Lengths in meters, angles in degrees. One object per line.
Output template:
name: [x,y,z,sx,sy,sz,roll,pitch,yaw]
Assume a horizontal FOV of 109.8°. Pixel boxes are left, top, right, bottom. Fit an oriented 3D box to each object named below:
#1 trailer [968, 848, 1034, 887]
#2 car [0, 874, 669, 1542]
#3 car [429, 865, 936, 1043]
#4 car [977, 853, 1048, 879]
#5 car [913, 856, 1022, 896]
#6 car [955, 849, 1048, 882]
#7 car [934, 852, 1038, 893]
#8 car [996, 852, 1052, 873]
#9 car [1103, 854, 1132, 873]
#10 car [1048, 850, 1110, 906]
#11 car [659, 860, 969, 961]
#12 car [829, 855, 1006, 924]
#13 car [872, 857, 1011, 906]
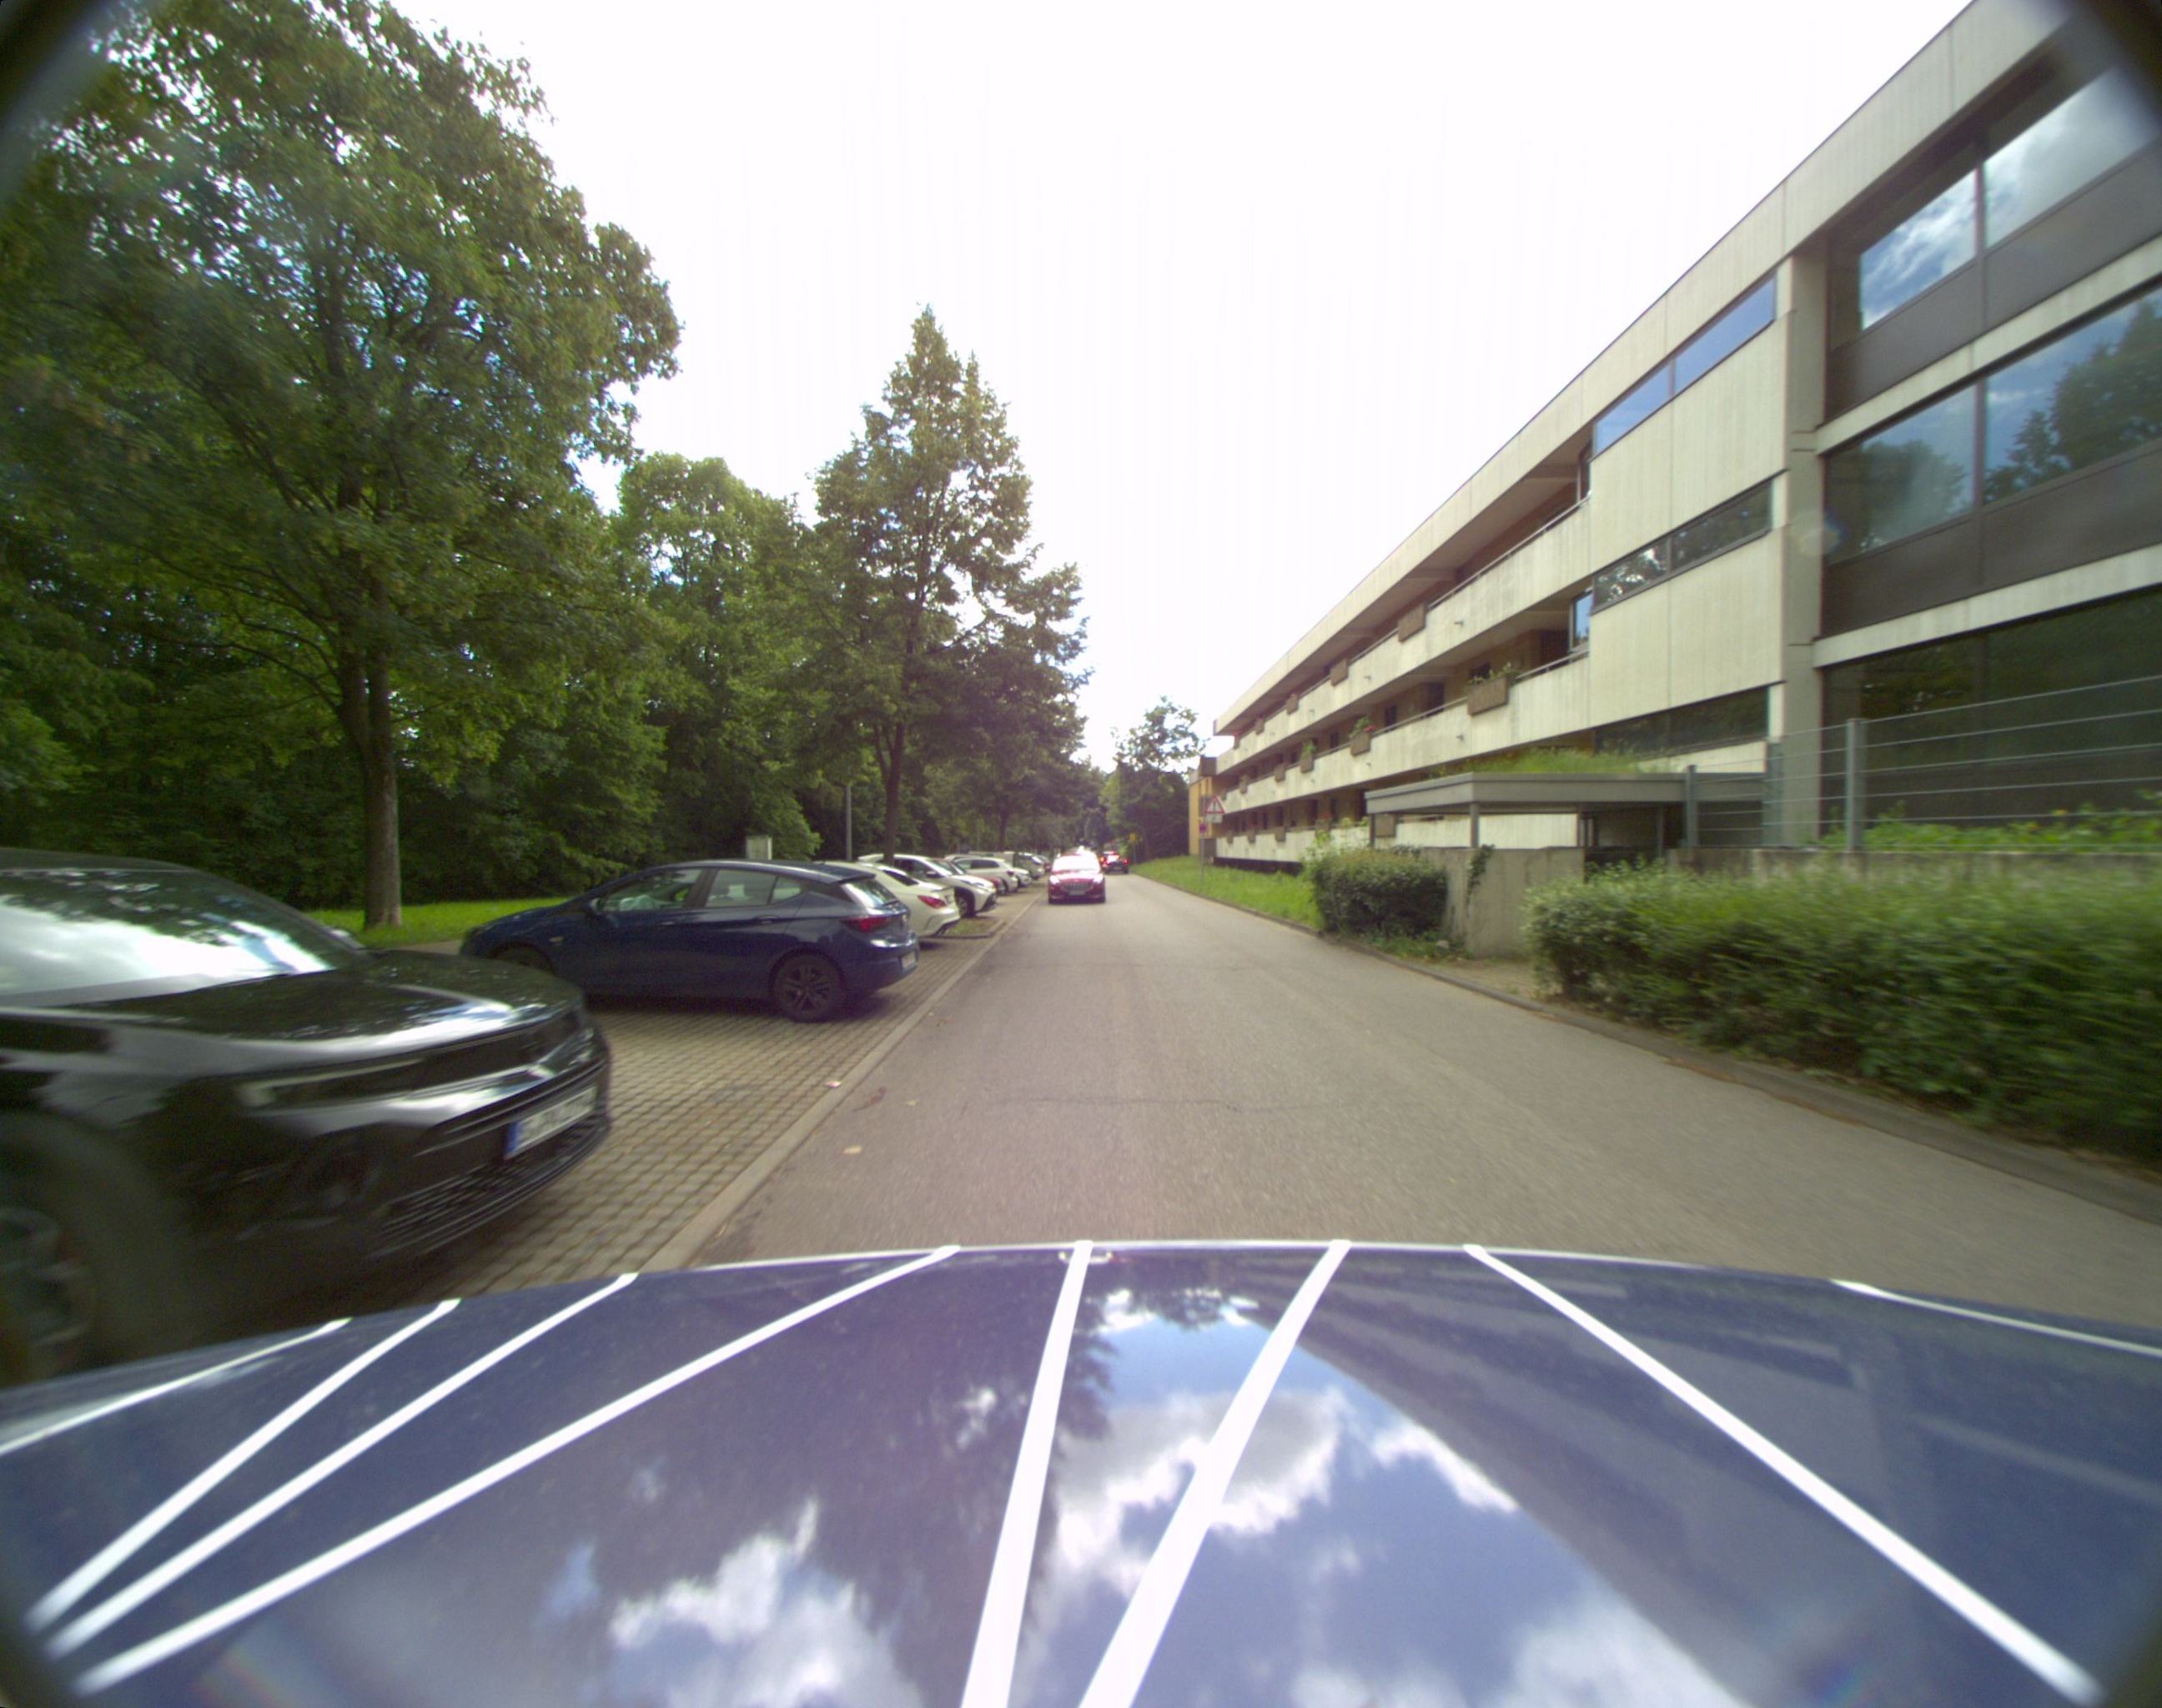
trailer: [-3.843,0.629,36.823,3.038,1.780,1.563,1,1,-3]
car: [-4.002,0.871,2.653,4.084,1.508,1.850,1,1,-4]
car: [-3.691,0.890,7.605,4.082,1.448,1.851,1,1,1]
car: [-4.240,0.728,47.492,4.168,1.561,1.851,0,1,2]
car: [-4.296,0.826,29.186,4.020,1.414,1.791,1,1,-5]
car: [-4.320,0.591,41.984,4.828,1.683,1.974,1,1,3]
car: [-3.873,0.743,31.550,4.124,1.539,1.860,1,1,-3]
car: [-4.256,0.634,57.105,4.146,1.561,1.785,0,1,-2]
car: [2.803,0.713,58.934,1.918,1.403,4.423,-1,0,-1]
car: [-0.068,0.736,26.194,1.918,1.707,5.038,-1,0,0]
car: [-4.282,0.885,12.713,4.497,1.446,1.846,1,1,0]
car: [-3.911,0.813,18.595,3.849,1.507,1.881,1,1,3]
car: [-4.338,0.847,24.058,4.065,1.414,1.816,1,1,-1]
